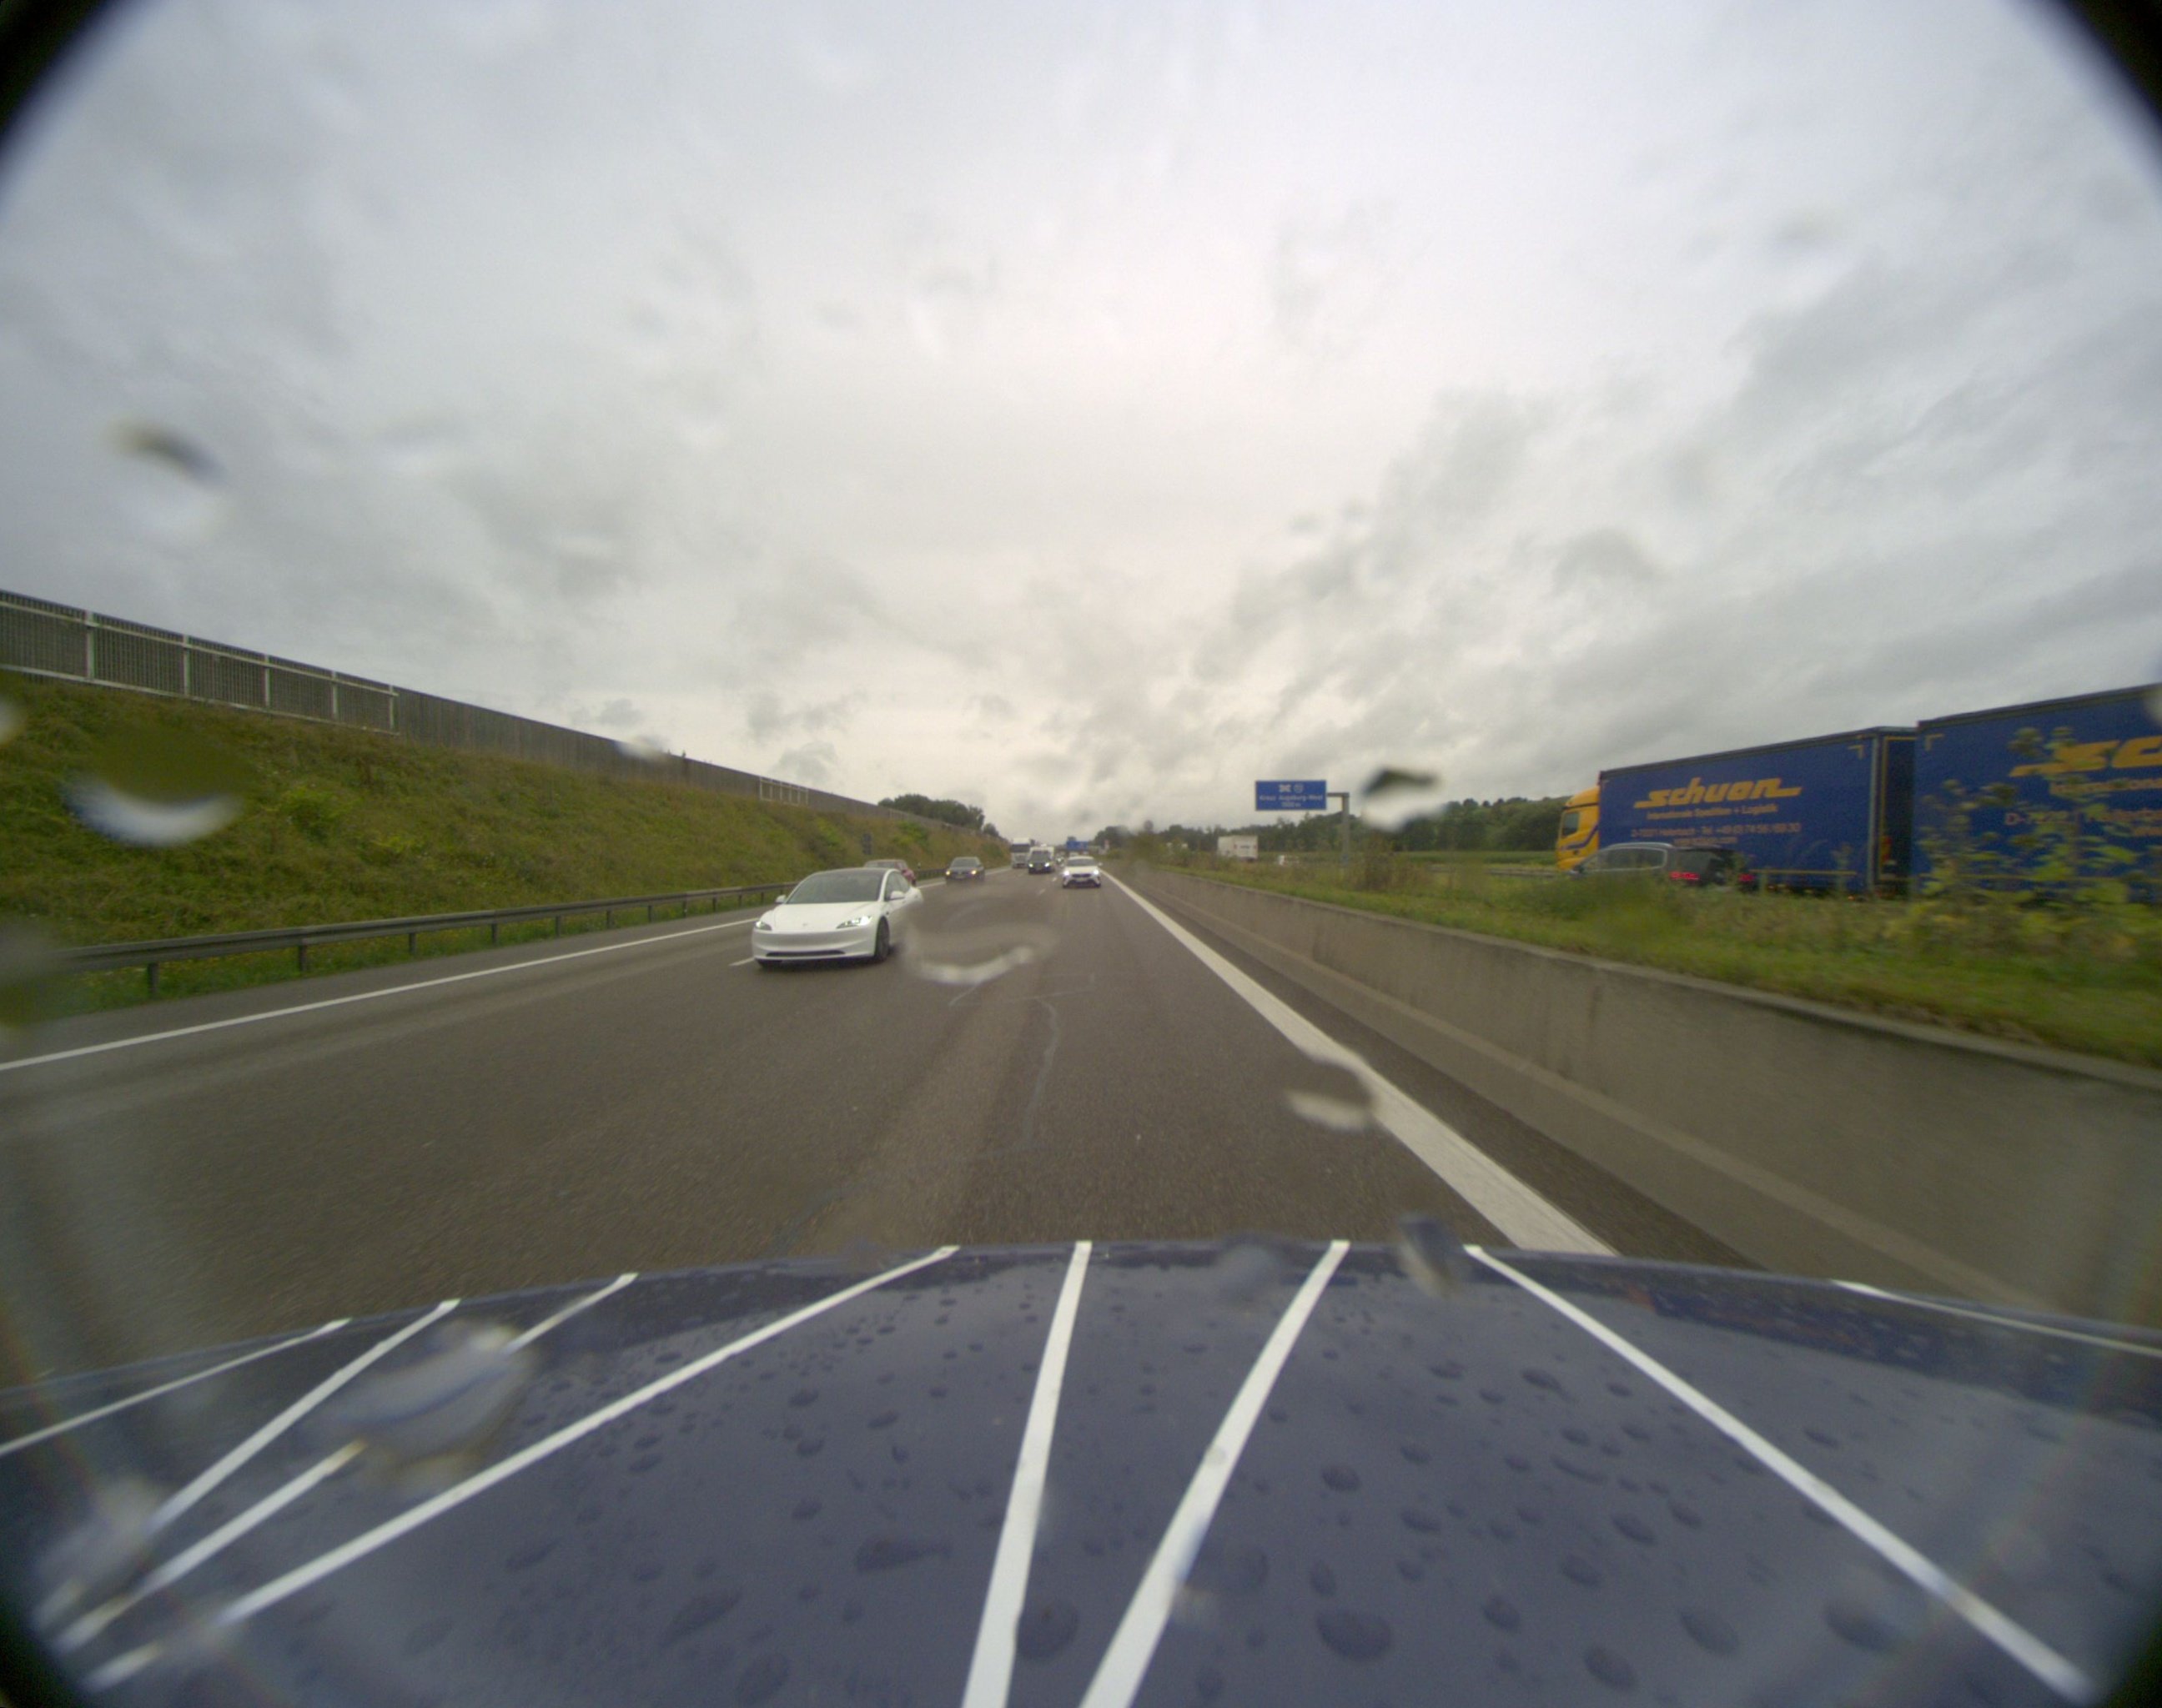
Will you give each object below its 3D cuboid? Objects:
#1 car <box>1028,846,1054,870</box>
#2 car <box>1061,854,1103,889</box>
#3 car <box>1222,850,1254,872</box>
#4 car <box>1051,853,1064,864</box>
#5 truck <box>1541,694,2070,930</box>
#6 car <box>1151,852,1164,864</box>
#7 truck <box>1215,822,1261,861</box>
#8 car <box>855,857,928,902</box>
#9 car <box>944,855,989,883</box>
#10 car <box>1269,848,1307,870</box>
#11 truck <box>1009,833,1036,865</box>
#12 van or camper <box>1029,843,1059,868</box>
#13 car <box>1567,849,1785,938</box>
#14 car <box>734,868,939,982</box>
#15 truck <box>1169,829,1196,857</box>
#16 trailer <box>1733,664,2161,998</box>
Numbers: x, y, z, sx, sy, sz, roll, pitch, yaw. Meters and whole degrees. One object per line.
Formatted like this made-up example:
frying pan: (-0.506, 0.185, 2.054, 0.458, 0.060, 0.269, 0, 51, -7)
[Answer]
car: (-3.530, 0.300, 67.839, 1.998, 2.002, 4.937, -2, 1, 1)
car: (0.085, 0.780, 36.595, 1.841, 1.455, 3.999, -2, 1, 1)
car: (13.203, 0.570, 64.227, 1.820, 1.643, 3.999, -2, 1, 0)
car: (-3.714, 0.707, 119.705, 1.999, 1.759, 3.999, -1, 0, -2)
truck: (17.089, -0.870, 19.918, 3.421, 4.339, 10.989, -2, 1, 1)
car: (13.294, 0.690, 132.622, 1.758, 1.894, 4.095, -2, 0, 0)
truck: (17.440, -1.400, 85.225, 3.191, 3.944, 10.810, -2, 1, 2)
car: (-7.555, 0.966, 30.643, 1.878, 1.526, 3.999, -2, 1, 0)
car: (-6.721, 0.845, 45.038, 1.929, 1.480, 4.485, -2, 1, 0)
car: (17.227, 0.390, 63.393, 1.998, 1.674, 3.999, -2, 1, 0)
truck: (-7.905, -0.689, 103.490, 3.090, 4.003, 6.955, -2, 1, -1)
van or camper: (-3.518, 0.086, 73.374, 2.432, 2.139, 6.497, -2, 1, 1)
car: (13.251, 0.785, 17.294, 1.871, 1.774, 4.000, -1, 1, 1)
car: (-3.863, 1.035, 13.006, 1.878, 1.355, 4.812, -2, 1, 0)
truck: (17.757, -2.017, 133.928, 3.233, 4.623, 9.672, -2, 1, 0)
trailer: (17.031, -0.384, 11.927, 3.396, 4.741, 11.679, -2, 0, 0)
